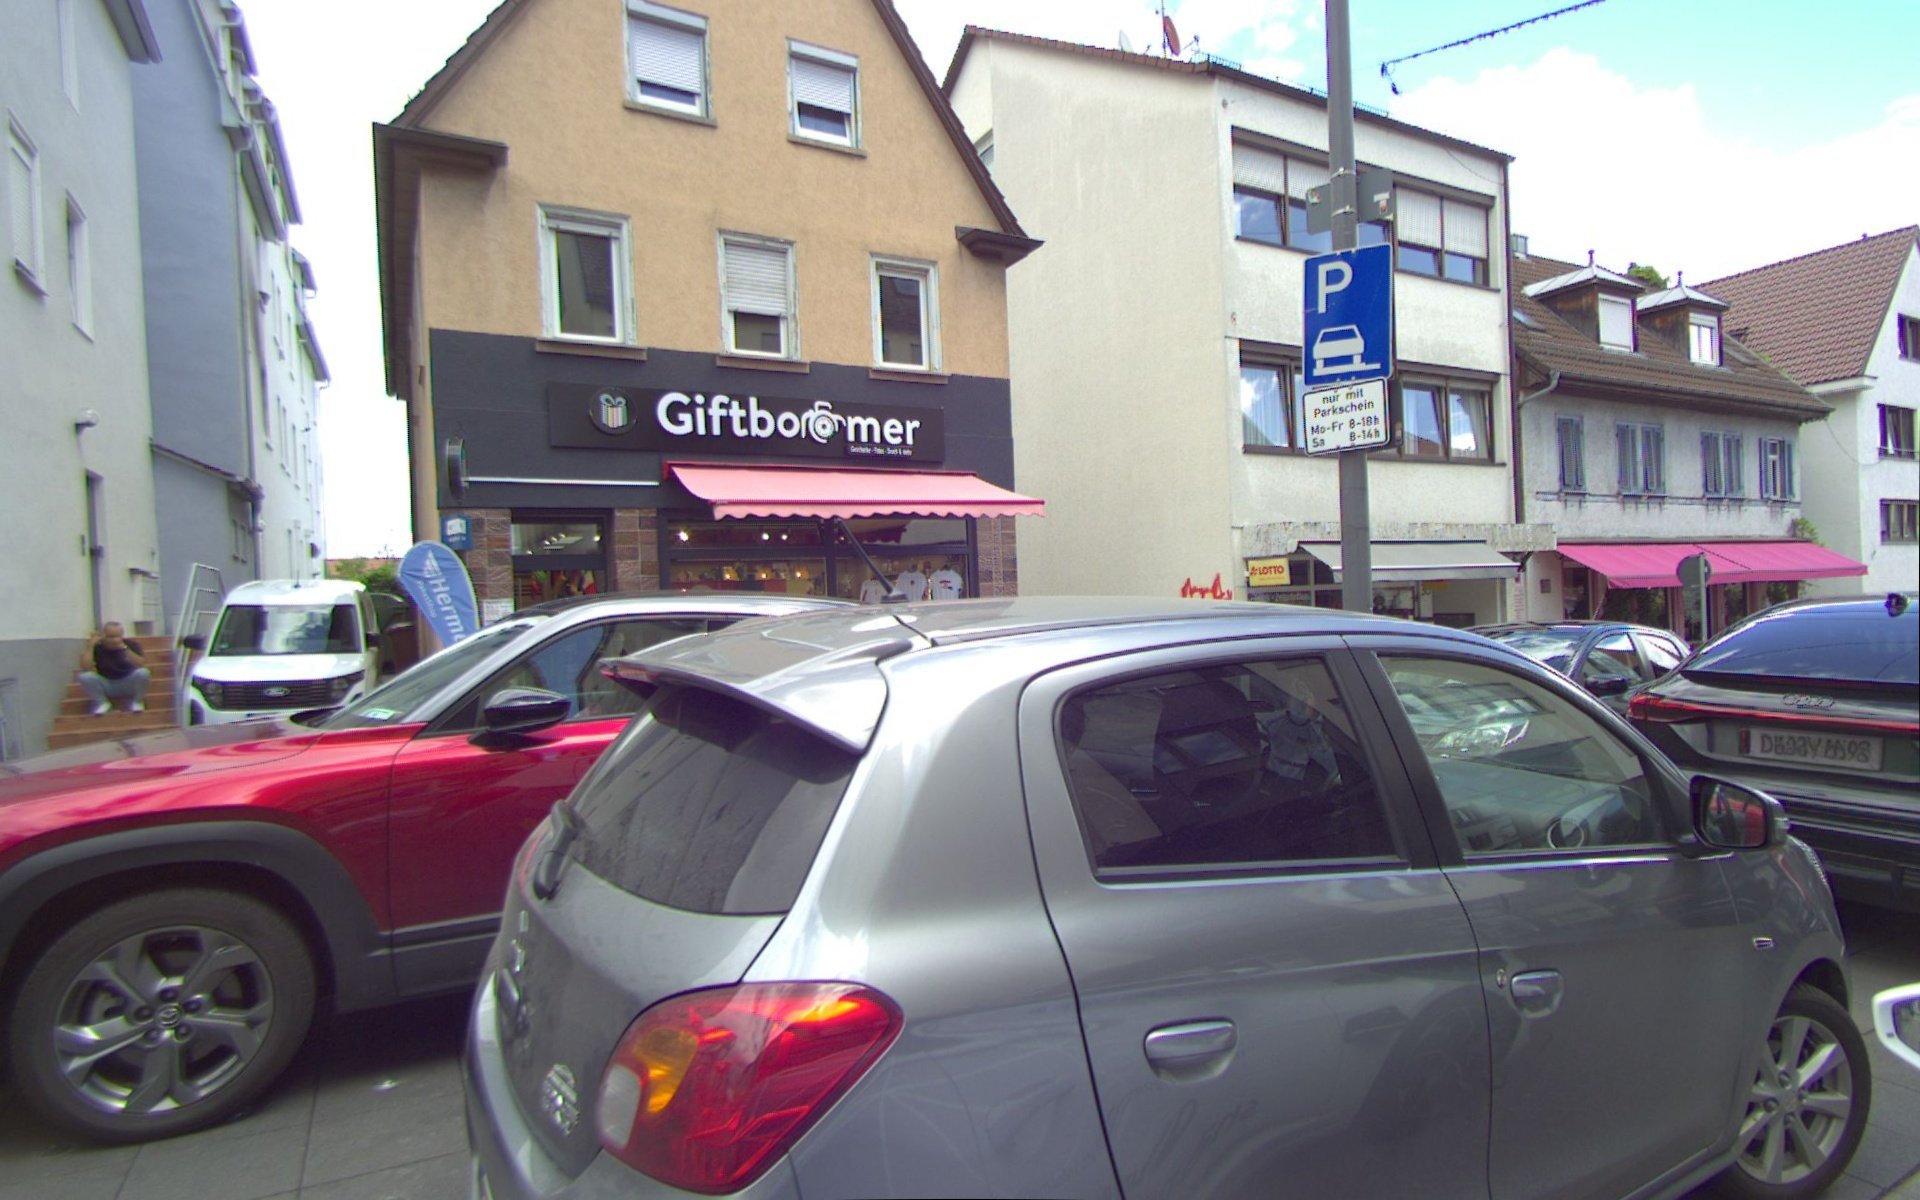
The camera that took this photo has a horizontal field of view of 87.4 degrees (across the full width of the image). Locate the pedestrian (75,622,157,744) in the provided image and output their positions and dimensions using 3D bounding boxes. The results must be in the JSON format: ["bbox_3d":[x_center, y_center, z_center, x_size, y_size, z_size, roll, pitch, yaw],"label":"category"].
[{"bbox_3d":[-9.604,0.916,11.455,0.600,1.336,0.622,1,-1,-31],"label":"pedestrian"}]

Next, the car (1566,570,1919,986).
[{"bbox_3d":[5.452,0.751,5.486,4.266,1.661,1.946,1,0,-32],"label":"car"}]

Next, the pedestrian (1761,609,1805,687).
[{"bbox_3d":[18.486,1.069,22.556,0.570,1.711,0.575,1,0,-31],"label":"pedestrian"}]

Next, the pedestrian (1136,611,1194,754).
[{"bbox_3d":[2.524,1.000,12.421,0.653,1.711,0.646,-1,-1,9],"label":"pedestrian"}]

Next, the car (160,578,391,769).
[{"bbox_3d":[-8.101,0.702,12.260,1.860,1.898,4.054,1,1,-28],"label":"car"}]

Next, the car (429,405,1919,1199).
[{"bbox_3d":[0.759,0.633,2.533,3.628,1.553,1.612,1,0,-31],"label":"car"}]

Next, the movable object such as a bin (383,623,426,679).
[{"bbox_3d":[-9.455,0.857,17.093,0.565,0.916,0.793,1,-1,-34],"label":"movable object such as a bin"}]

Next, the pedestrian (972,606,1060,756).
[{"bbox_3d":[0.660,0.934,11.938,0.817,1.711,0.636,1,-1,-28],"label":"pedestrian"}]

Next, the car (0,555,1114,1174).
[{"bbox_3d":[-1.509,0.729,4.155,4.146,1.563,1.730,1,-2,-32],"label":"car"}]

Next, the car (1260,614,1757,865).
[{"bbox_3d":[4.298,0.873,7.744,3.841,1.495,1.730,1,-1,-32],"label":"car"}]

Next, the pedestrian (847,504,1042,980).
[{"bbox_3d":[-0.063,0.442,3.398,0.486,1.450,0.464,1,-3,-30],"label":"pedestrian"}]

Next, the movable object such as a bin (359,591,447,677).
[{"bbox_3d":[-10.504,0.616,18.881,1.254,1.498,2.290,1,-1,-34],"label":"movable object such as a bin"}]
